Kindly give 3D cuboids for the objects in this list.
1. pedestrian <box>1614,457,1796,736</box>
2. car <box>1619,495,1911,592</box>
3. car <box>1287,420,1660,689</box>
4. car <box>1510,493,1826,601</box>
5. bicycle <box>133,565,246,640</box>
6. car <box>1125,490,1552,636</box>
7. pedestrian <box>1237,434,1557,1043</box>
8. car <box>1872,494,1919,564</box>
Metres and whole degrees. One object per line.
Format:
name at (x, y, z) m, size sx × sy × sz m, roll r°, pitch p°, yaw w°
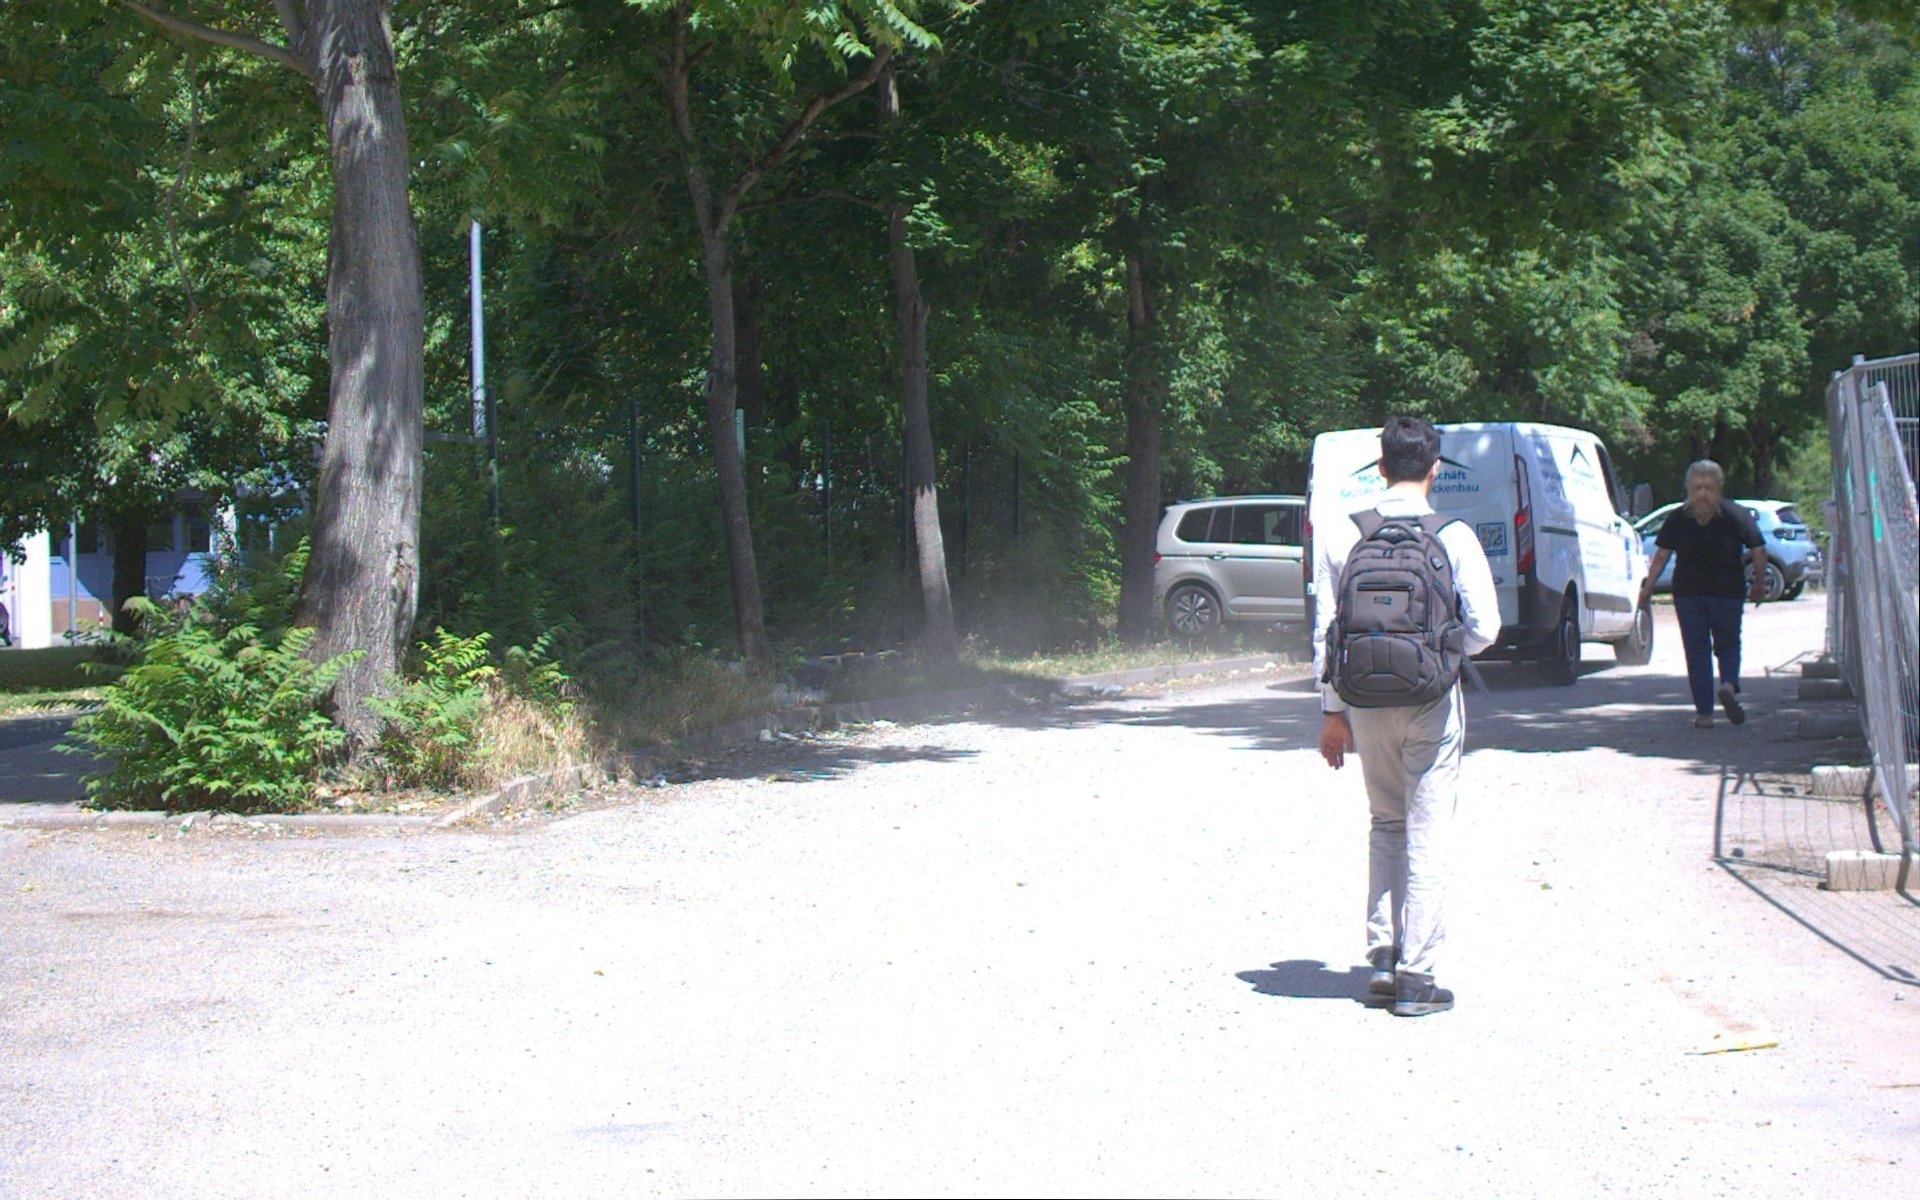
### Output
pedestrian at (4.513, -0.037, 20.903) m, size 1.036 × 1.644 × 1.049 m, roll -1°, pitch 2°, yaw 11°
car at (13.696, -0.956, 58.499) m, size 4.512 × 1.592 × 1.934 m, roll 0°, pitch 2°, yaw 27°
car at (4.177, -0.392, 27.326) m, size 1.975 × 1.940 × 4.576 m, roll -1°, pitch 2°, yaw 21°
car at (10.981, -0.820, 53.389) m, size 4.512 × 1.592 × 1.723 m, roll 0°, pitch 2°, yaw 26°
bicycle at (-11.714, 0.034, 52.331) m, size 0.600 × 1.081 × 1.937 m, roll 0°, pitch 2°, yaw 25°
car at (4.374, -0.397, 39.803) m, size 4.512 × 1.604 × 1.997 m, roll 0°, pitch -1°, yaw 27°
pedestrian at (1.300, 0.378, 10.296) m, size 0.874 × 1.723 × 1.080 m, roll -1°, pitch 2°, yaw 7°
car at (22.785, -1.603, 76.558) m, size 4.512 × 1.542 × 1.723 m, roll 0°, pitch 2°, yaw 26°
